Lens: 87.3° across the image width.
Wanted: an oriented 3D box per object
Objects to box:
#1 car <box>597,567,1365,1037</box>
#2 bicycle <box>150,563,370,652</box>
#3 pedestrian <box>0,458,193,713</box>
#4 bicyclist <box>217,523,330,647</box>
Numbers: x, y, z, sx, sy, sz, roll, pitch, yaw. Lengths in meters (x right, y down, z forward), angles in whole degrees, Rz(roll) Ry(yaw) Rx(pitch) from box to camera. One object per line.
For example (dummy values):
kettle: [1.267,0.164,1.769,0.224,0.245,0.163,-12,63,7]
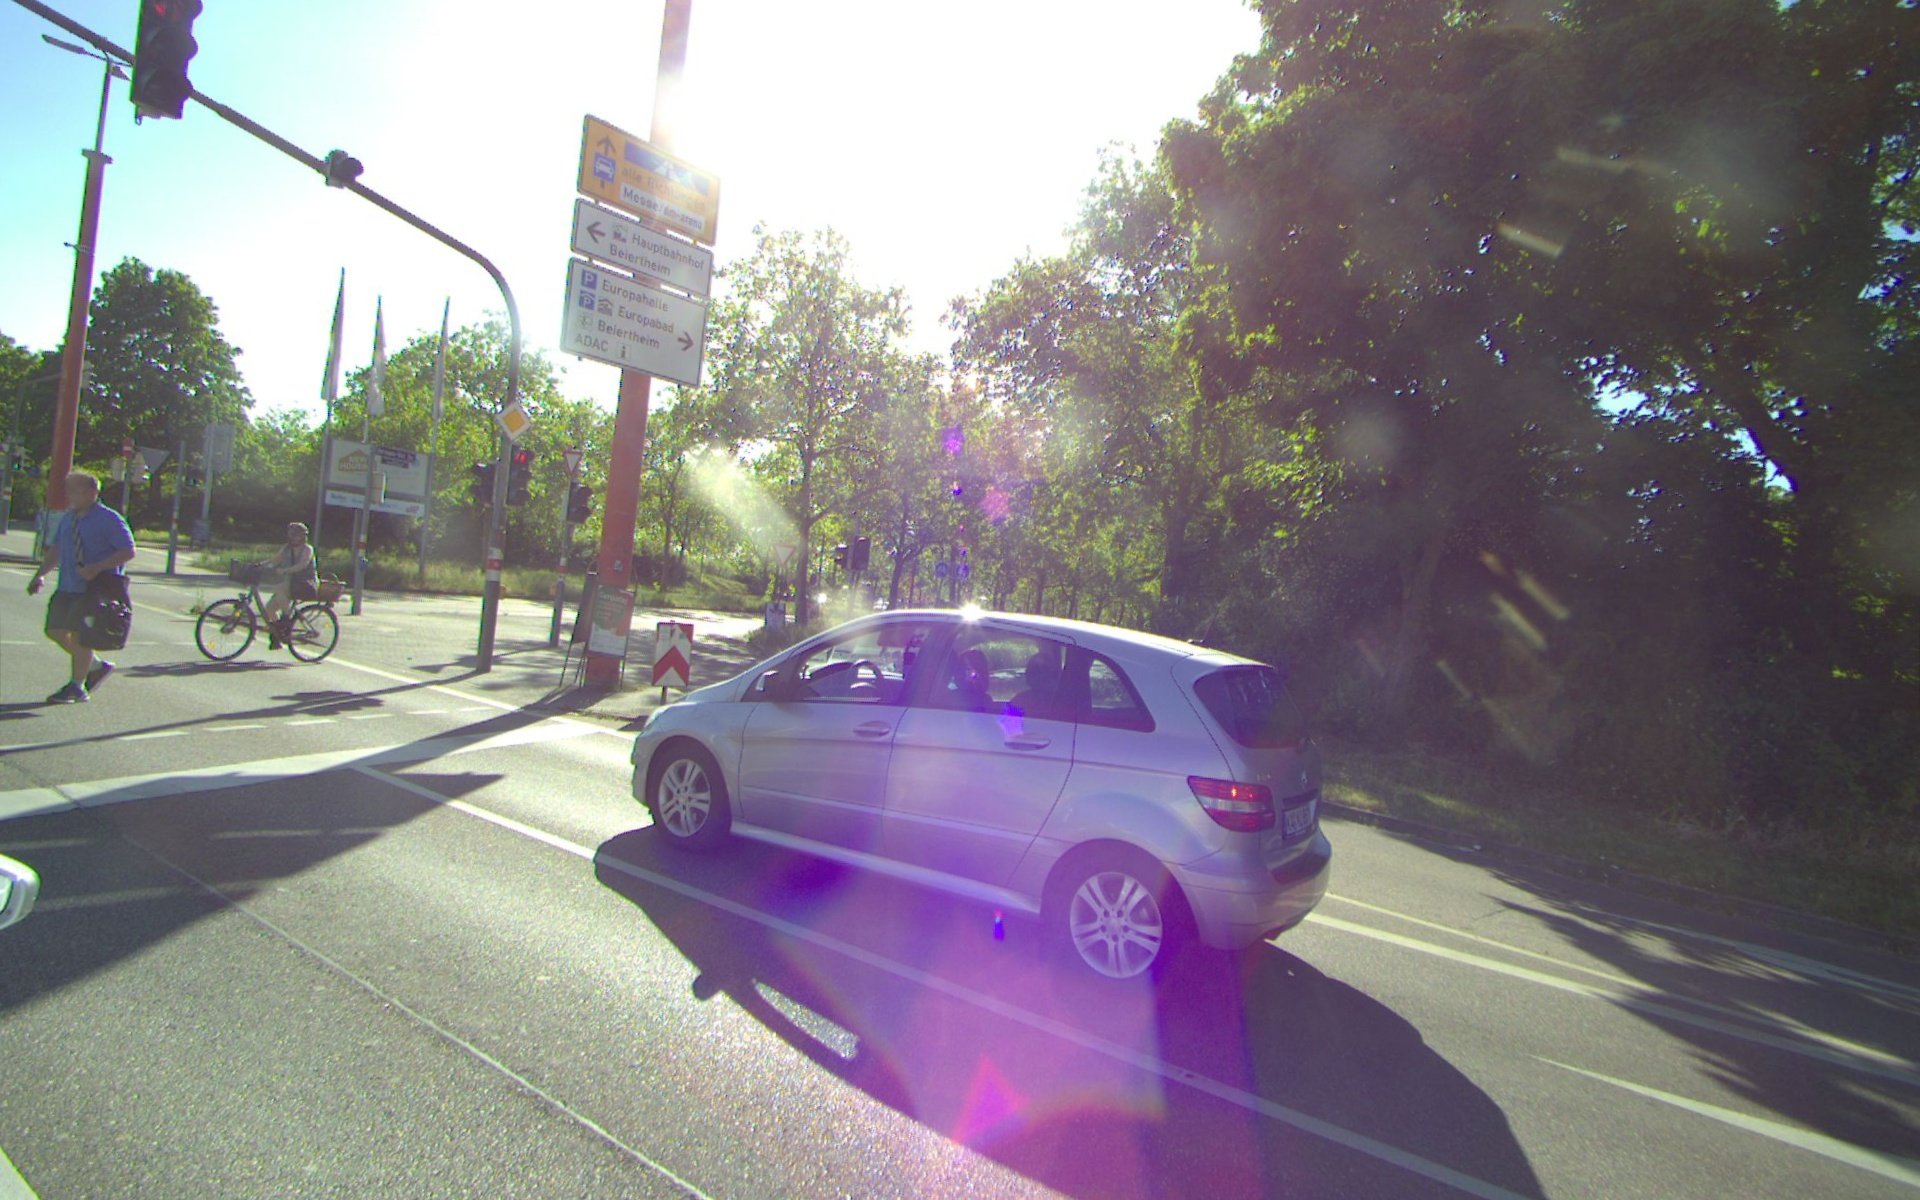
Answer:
car: [-0.026,0.830,5.765,3.994,1.559,1.670,7,0,33]
bicycle: [-8.174,0.127,11.899,0.549,0.889,2.169,7,-1,19]
pedestrian: [-6.886,-0.105,7.940,0.886,1.810,0.891,7,0,-14]
bicyclist: [-8.176,-0.167,12.000,0.695,1.358,0.742,7,0,21]
